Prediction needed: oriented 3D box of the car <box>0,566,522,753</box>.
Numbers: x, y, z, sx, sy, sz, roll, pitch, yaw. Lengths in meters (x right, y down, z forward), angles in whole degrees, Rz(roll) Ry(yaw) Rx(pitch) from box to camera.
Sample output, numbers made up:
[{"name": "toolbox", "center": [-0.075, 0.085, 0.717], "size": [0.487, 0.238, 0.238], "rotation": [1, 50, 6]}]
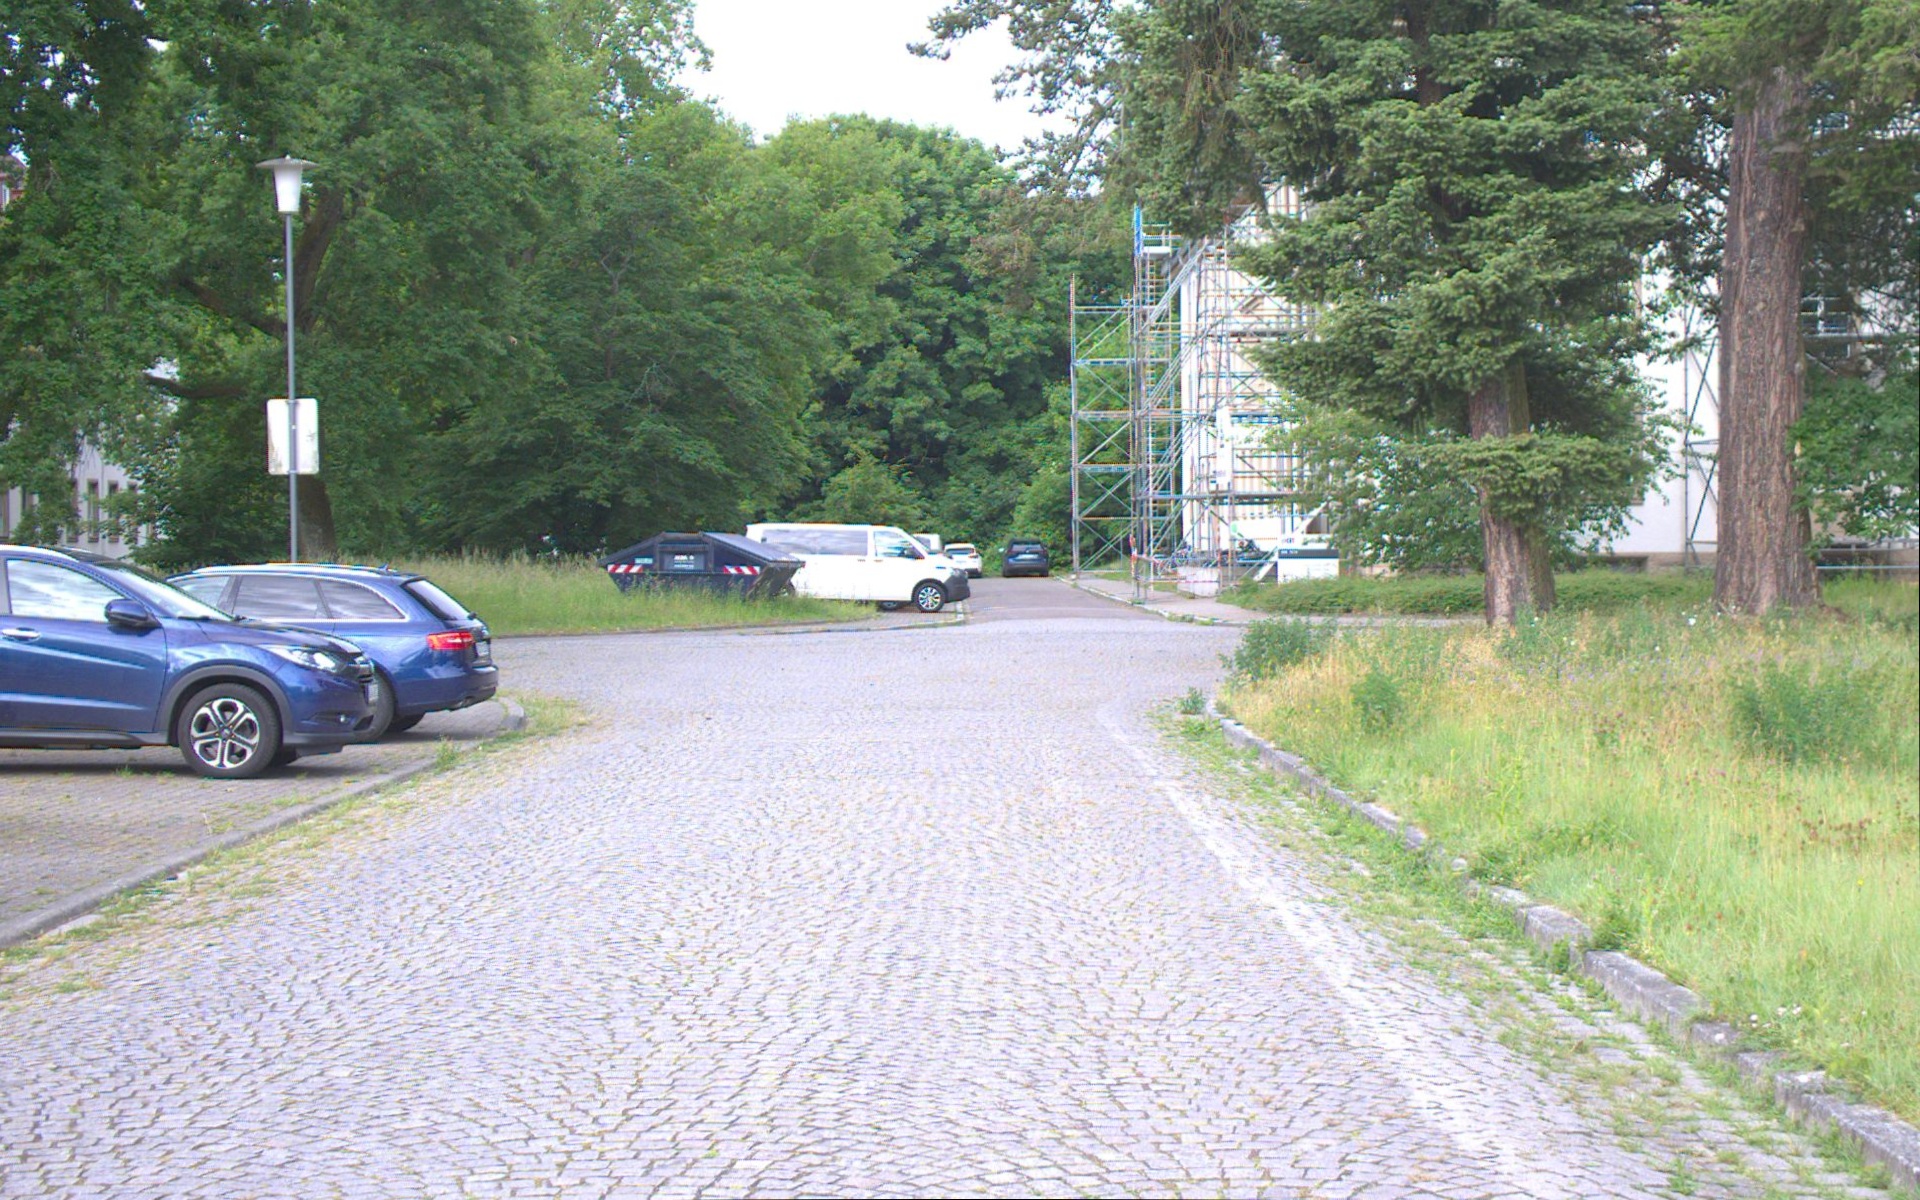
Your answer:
[{"name": "car", "center": [-5.968, 0.469, 28.842], "size": [4.303, 1.456, 1.975], "rotation": [0, 1, 1]}]

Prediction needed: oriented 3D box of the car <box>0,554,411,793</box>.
[{"name": "car", "center": [-6.104, 0.481, 24.111], "size": [4.228, 1.571, 1.887], "rotation": [0, 1, -1]}]

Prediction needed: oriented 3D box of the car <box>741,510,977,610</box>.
[{"name": "car", "center": [-2.290, -0.908, 77.632], "size": [5.234, 2.160, 2.000], "rotation": [-1, 1, -2]}]

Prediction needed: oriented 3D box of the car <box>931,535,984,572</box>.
[{"name": "car", "center": [-0.117, -1.939, 143.615], "size": [2.118, 1.516, 4.000], "rotation": [-1, 1, -1]}]

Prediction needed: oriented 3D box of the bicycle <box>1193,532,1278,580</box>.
[{"name": "bicycle", "center": [7.394, -1.184, 92.453], "size": [2.240, 1.250, 0.777], "rotation": [-1, 1, 2]}]

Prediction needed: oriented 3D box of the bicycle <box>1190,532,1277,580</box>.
[{"name": "bicycle", "center": [7.188, -1.162, 90.542], "size": [2.240, 1.250, 0.777], "rotation": [-1, 1, 2]}]

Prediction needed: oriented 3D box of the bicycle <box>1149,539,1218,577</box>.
[{"name": "bicycle", "center": [7.401, -1.389, 114.021], "size": [2.240, 1.250, 0.627], "rotation": [-1, 1, 2]}]

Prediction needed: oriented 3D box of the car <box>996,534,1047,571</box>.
[{"name": "car", "center": [2.561, -1.990, 143.897], "size": [1.951, 1.516, 4.000], "rotation": [-1, 1, -1]}]

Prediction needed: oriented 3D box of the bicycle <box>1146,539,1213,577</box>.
[{"name": "bicycle", "center": [7.428, -1.413, 116.353], "size": [2.240, 1.250, 0.634], "rotation": [-1, 1, 2]}]
